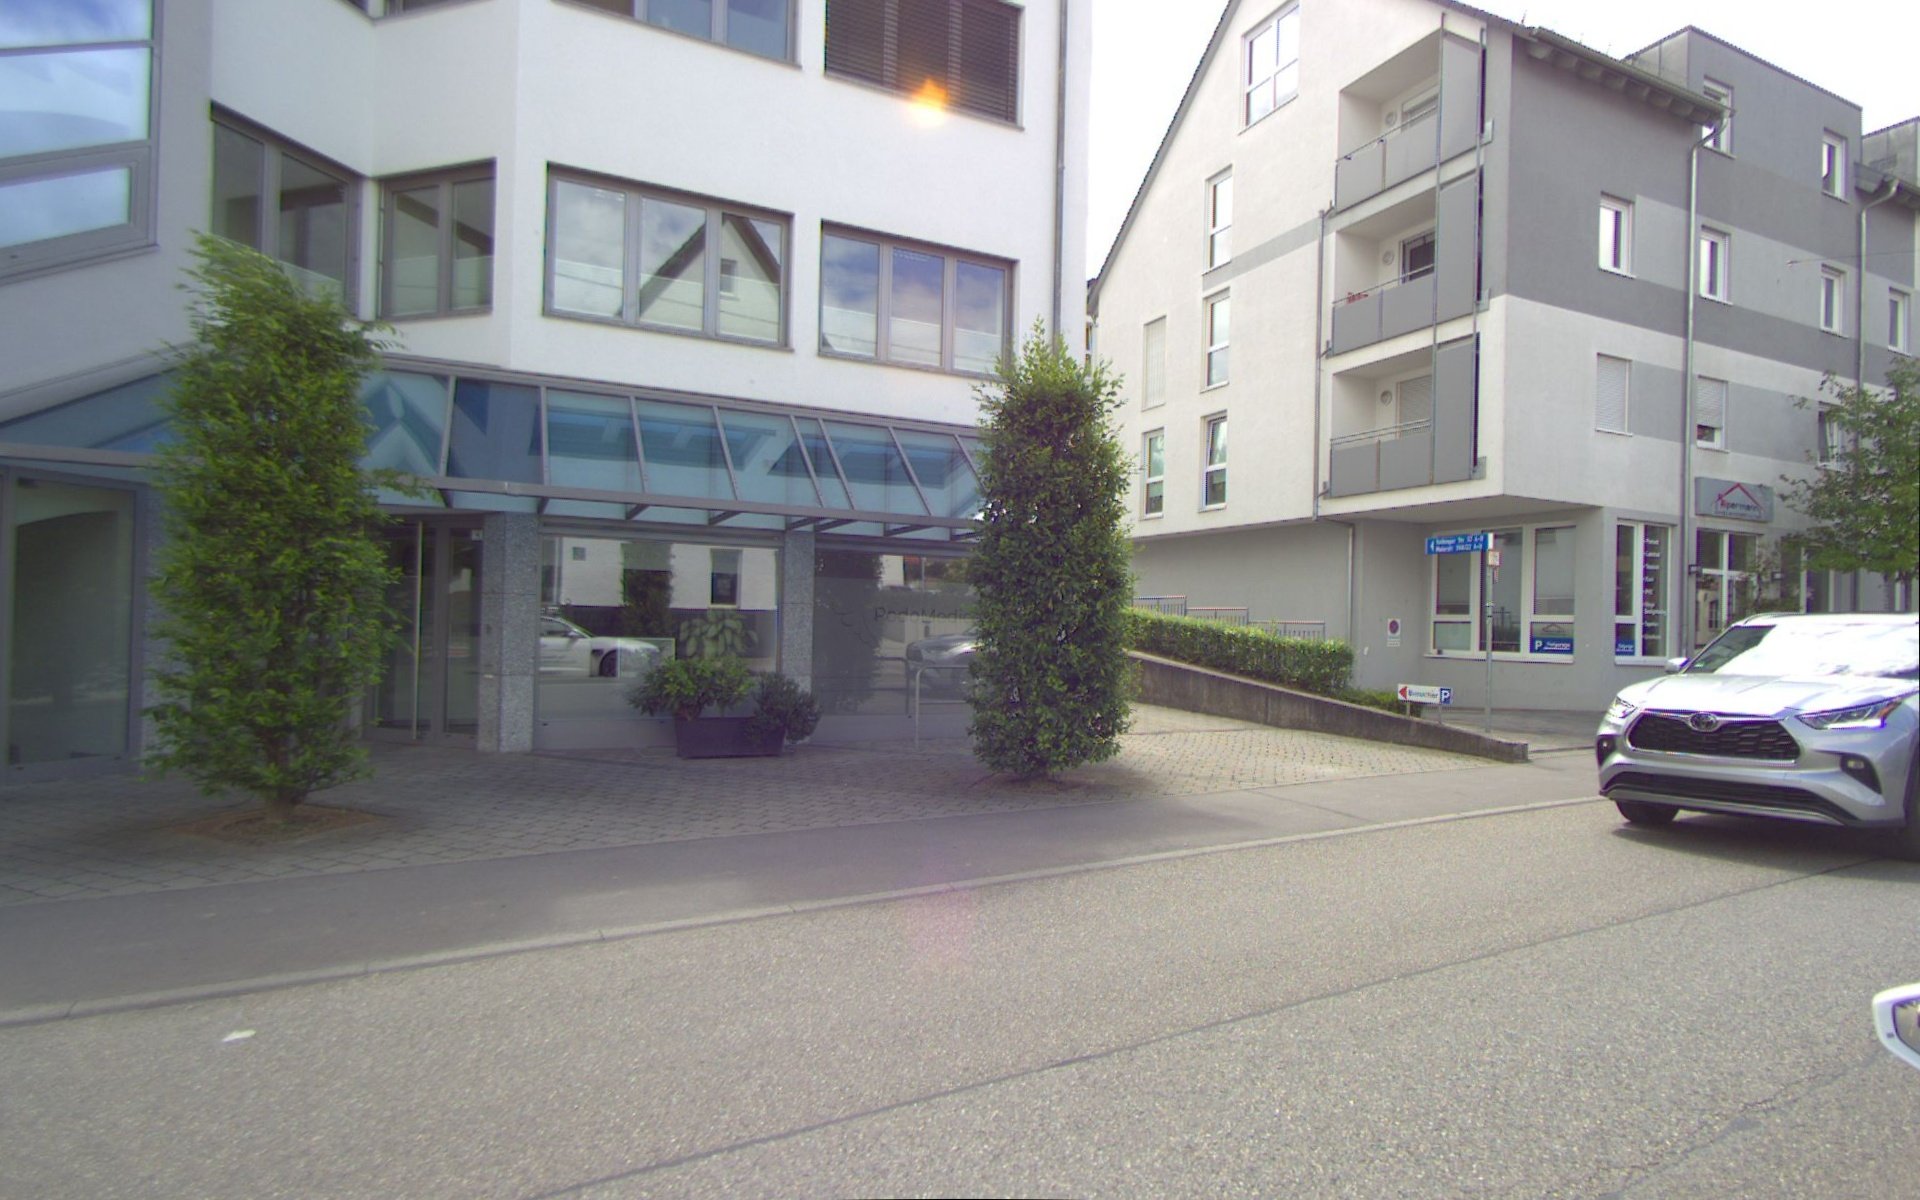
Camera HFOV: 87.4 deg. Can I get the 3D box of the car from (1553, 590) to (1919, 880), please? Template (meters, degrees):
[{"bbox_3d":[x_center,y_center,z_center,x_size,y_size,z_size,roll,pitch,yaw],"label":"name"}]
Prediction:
[{"bbox_3d":[7.178,0.932,8.171,4.739,1.760,1.977,2,-4,-30],"label":"car"}]

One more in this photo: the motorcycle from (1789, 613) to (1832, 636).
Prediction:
[{"bbox_3d":[40.462,1.157,47.771,2.321,1.018,1.191,2,0,-41],"label":"motorcycle"}]
